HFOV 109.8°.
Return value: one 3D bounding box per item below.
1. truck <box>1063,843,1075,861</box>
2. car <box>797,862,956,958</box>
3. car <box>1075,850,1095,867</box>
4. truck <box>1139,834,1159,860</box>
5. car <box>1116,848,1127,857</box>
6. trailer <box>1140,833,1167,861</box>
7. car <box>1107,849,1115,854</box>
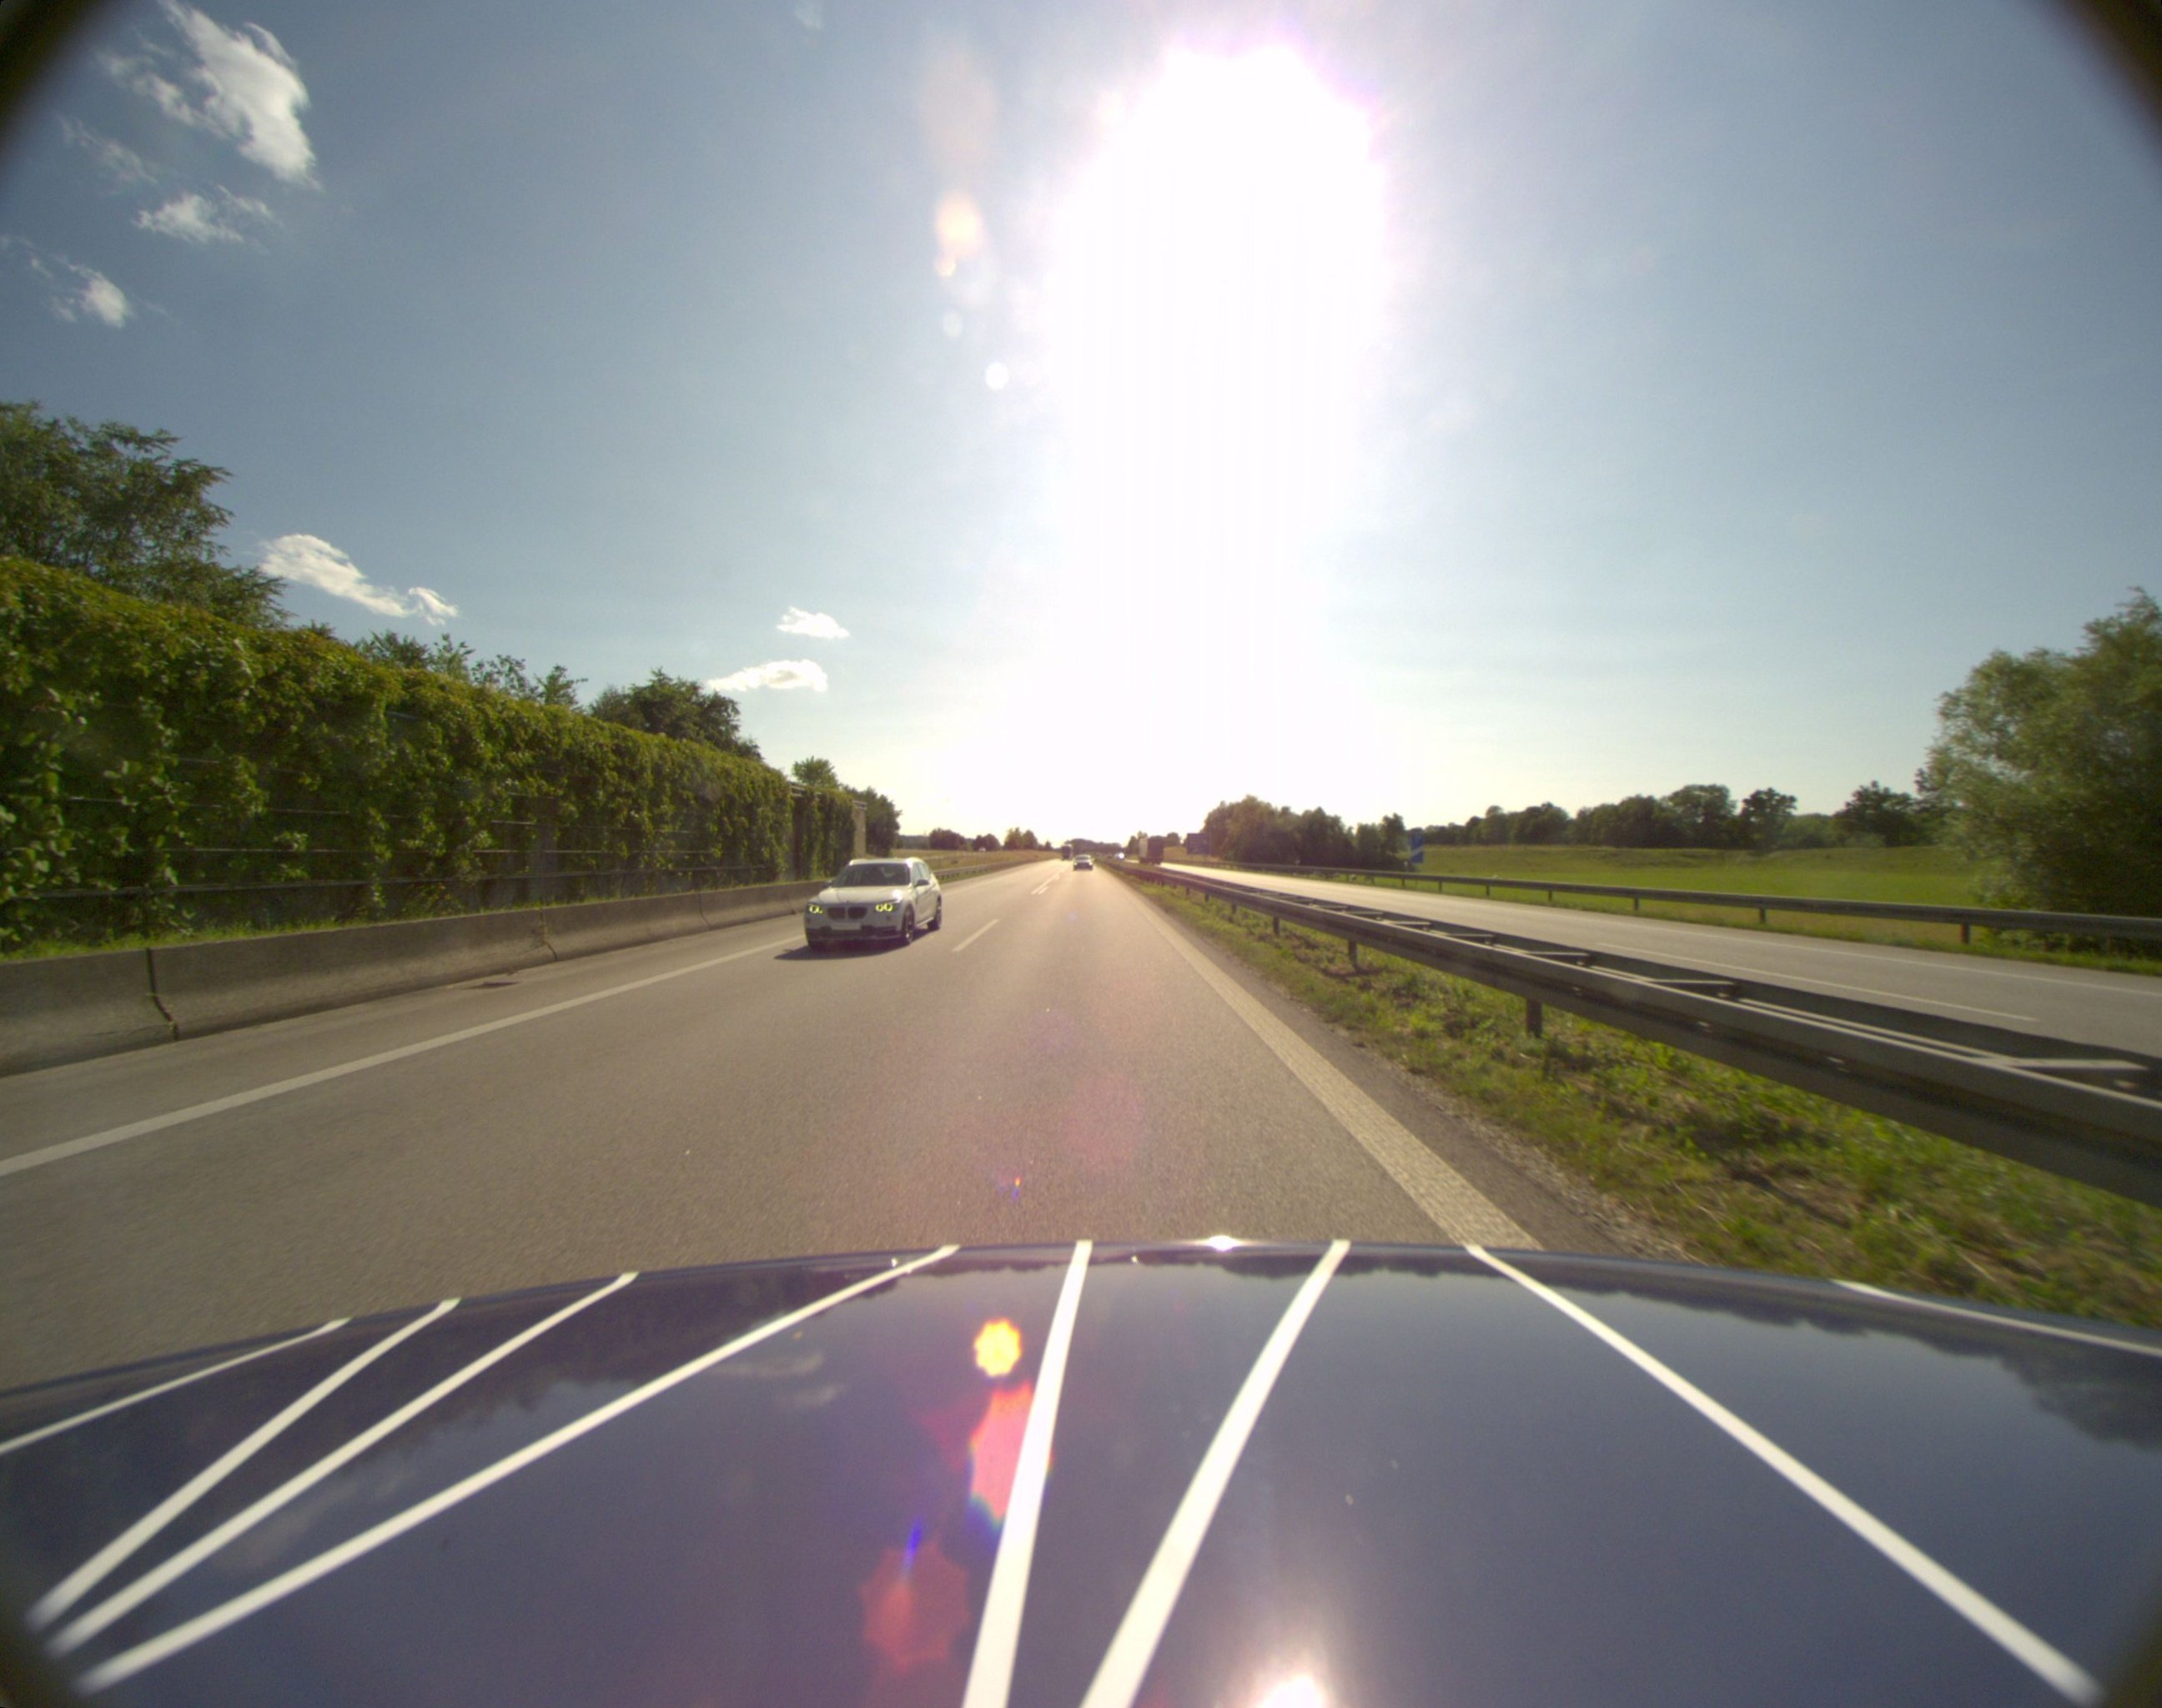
[{"bbox_3d":[-2.833,-0.591,186.135,2.536,4.228,11.265,0,1,1],"label":"truck"},{"bbox_3d":[-3.806,0.957,15.096,1.689,1.487,4.987,-3,0,0],"label":"car"},{"bbox_3d":[0.401,0.405,72.613,1.870,1.514,4.284,1,0,1],"label":"car"},{"bbox_3d":[11.534,-1.228,129.432,2.747,4.278,6.333,1,1,-1],"label":"truck"},{"bbox_3d":[7.975,-0.294,149.860,1.999,1.656,4.633,1,1,0],"label":"car"},{"bbox_3d":[11.580,-1.096,122.675,2.795,4.136,14.391,1,0,0],"label":"trailer"},{"bbox_3d":[8.021,-0.648,203.017,1.685,1.451,4.925,1,1,-1],"label":"car"}]
